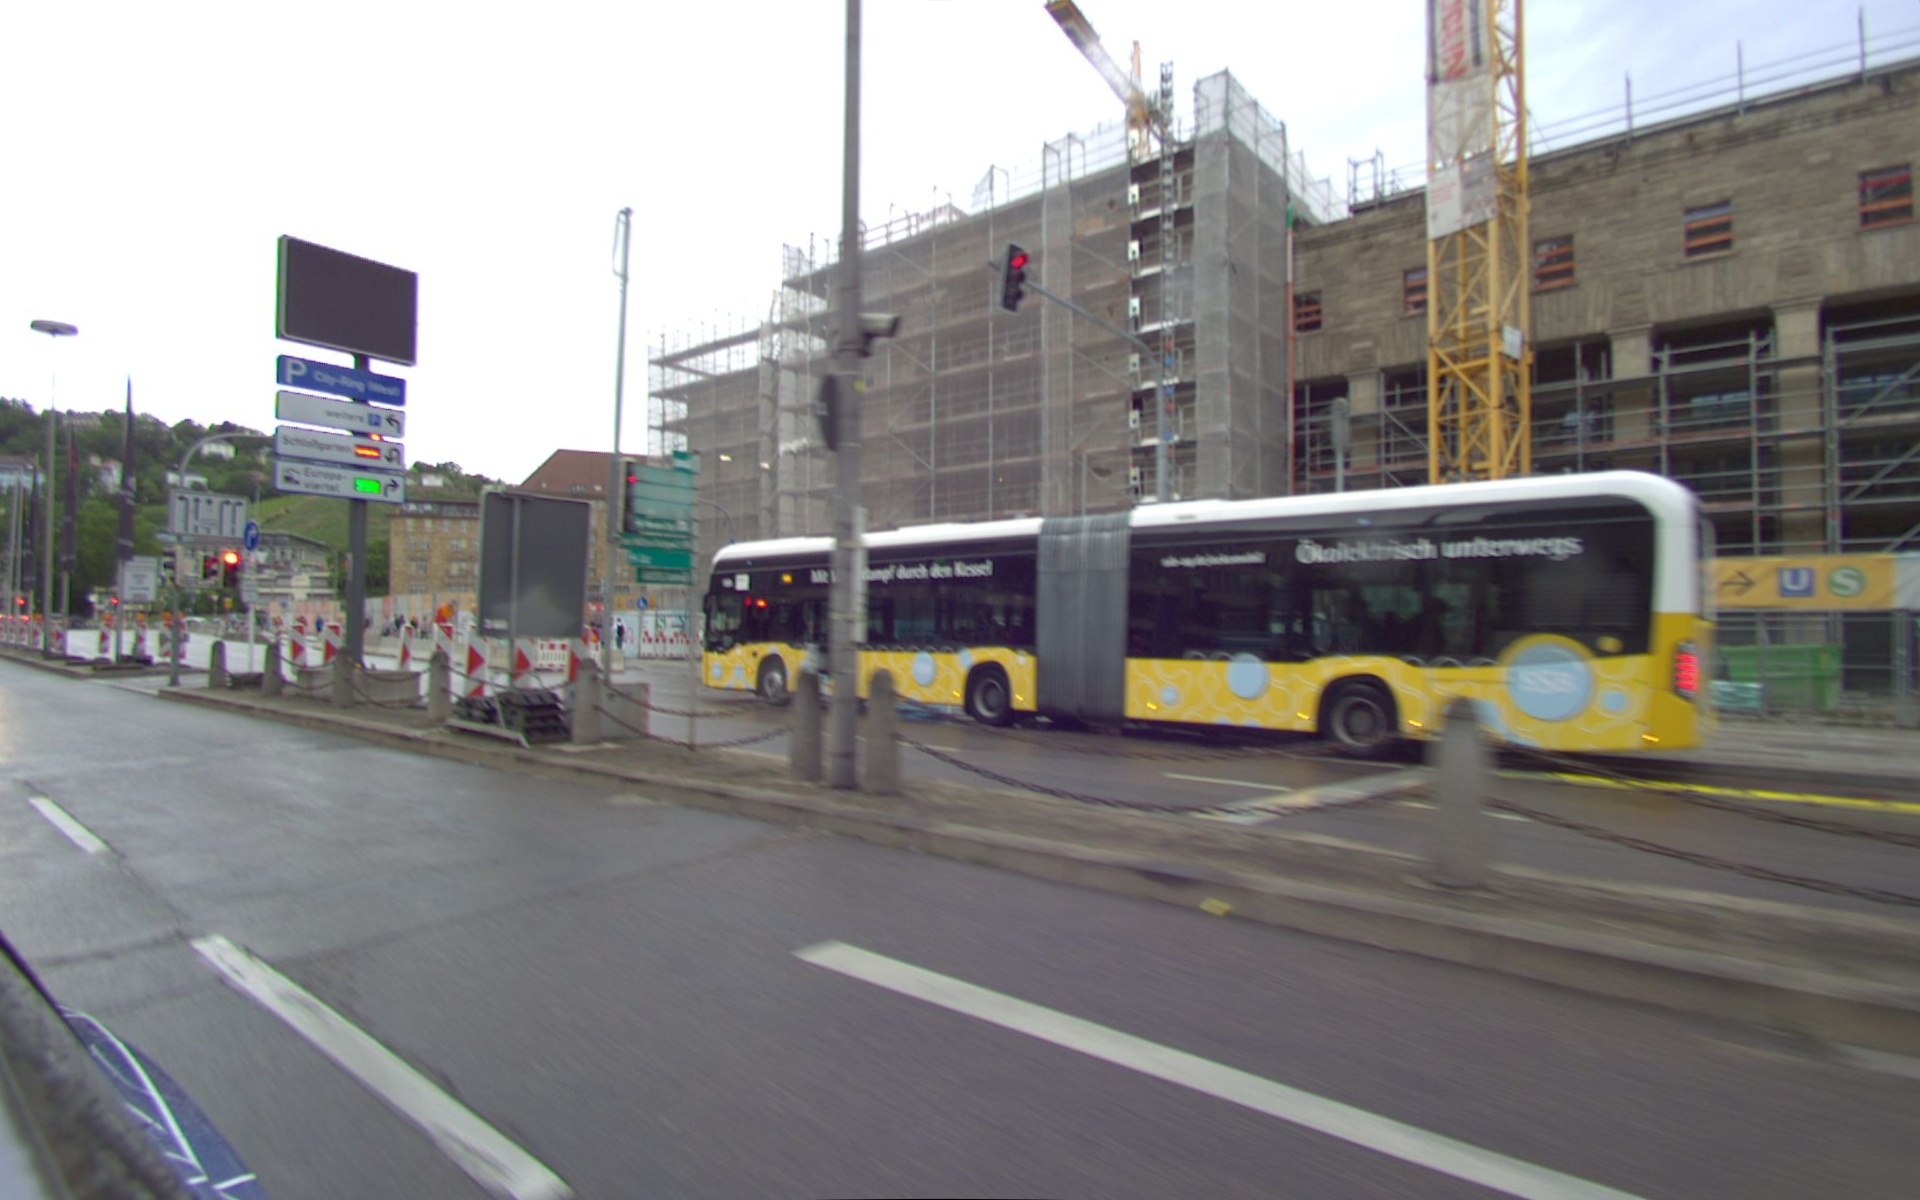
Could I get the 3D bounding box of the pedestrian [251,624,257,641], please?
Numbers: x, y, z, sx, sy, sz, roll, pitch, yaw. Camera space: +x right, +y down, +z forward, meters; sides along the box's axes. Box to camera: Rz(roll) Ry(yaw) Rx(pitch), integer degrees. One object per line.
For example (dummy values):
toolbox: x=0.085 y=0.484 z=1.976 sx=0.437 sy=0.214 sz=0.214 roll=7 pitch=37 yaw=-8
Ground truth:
pedestrian: x=-66.765 y=3.054 z=95.670 sx=0.357 sy=1.628 sz=0.370 roll=-2 pitch=-3 yaw=41

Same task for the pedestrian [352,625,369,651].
pedestrian: x=-39.584 y=2.523 z=66.855 sx=0.617 sy=1.698 sz=0.796 roll=-2 pitch=-3 yaw=44

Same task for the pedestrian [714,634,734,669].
pedestrian: x=-11.461 y=2.493 z=49.186 sx=0.655 sy=1.677 sz=0.699 roll=2 pitch=-2 yaw=-42

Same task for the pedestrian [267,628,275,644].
pedestrian: x=-61.348 y=3.223 z=90.104 sx=0.413 sy=1.426 sz=0.433 roll=-2 pitch=-3 yaw=41

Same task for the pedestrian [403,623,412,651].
pedestrian: x=-32.430 y=2.183 z=59.389 sx=0.395 sy=1.633 sz=0.365 roll=1 pitch=-2 yaw=-45

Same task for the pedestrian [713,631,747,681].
pedestrian: x=-7.965 y=1.939 z=35.051 sx=0.963 sy=1.694 sz=0.746 roll=-2 pitch=-3 yaw=41

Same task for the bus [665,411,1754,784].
bus: x=1.344 y=0.280 z=17.341 sx=19.076 sy=3.605 sz=2.878 roll=-2 pitch=-4 yaw=43

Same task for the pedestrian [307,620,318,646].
pedestrian: x=-50.469 y=2.585 z=78.884 sx=0.685 sy=2.049 sz=0.585 roll=-2 pitch=-3 yaw=41

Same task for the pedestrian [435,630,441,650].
pedestrian: x=-30.652 y=2.341 z=59.411 sx=0.251 sy=1.203 sz=0.390 roll=1 pitch=-2 yaw=-43

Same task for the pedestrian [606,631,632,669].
pedestrian: x=-15.273 y=2.247 z=45.332 sx=0.872 sy=1.677 sz=0.746 roll=-2 pitch=-3 yaw=42

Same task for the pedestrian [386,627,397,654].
pedestrian: x=-37.475 y=2.642 z=66.666 sx=0.463 sy=1.768 sz=0.510 roll=-2 pitch=-2 yaw=41

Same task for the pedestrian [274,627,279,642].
pedestrian: x=-59.030 y=2.988 z=87.396 sx=0.351 sy=1.321 sz=0.267 roll=-2 pitch=-3 yaw=41

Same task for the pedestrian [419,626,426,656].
pedestrian: x=-31.400 y=2.401 z=59.150 sx=0.268 sy=1.783 sz=0.310 roll=-2 pitch=-2 yaw=44

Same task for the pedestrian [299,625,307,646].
pedestrian: x=-50.885 y=2.746 z=78.377 sx=0.413 sy=1.628 sz=0.433 roll=-2 pitch=-3 yaw=41

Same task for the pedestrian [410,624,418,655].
pedestrian: x=-31.755 y=2.290 z=58.907 sx=0.346 sy=1.783 sz=0.306 roll=-3 pitch=-3 yaw=44

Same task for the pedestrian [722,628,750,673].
pedestrian: x=-9.301 y=2.104 z=42.085 sx=0.755 sy=1.826 sz=0.862 roll=-2 pitch=-3 yaw=36

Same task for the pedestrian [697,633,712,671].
pedestrian: x=-12.023 y=2.431 z=47.631 sx=0.640 sy=1.782 sz=0.527 roll=0 pitch=-2 yaw=-8

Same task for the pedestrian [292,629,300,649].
pedestrian: x=-54.095 y=3.185 z=82.387 sx=0.413 sy=1.628 sz=0.433 roll=-2 pitch=-3 yaw=41

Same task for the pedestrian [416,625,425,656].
pedestrian: x=-31.805 y=2.377 z=59.704 sx=0.391 sy=1.783 sz=0.363 roll=-3 pitch=-3 yaw=44

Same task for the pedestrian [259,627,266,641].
pedestrian: x=-66.226 y=3.222 z=96.054 sx=0.413 sy=1.250 sz=0.432 roll=-3 pitch=-3 yaw=43

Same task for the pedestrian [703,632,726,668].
pedestrian: x=-12.321 y=2.502 z=50.821 sx=0.703 sy=1.749 sz=0.948 roll=-1 pitch=-2 yaw=17
